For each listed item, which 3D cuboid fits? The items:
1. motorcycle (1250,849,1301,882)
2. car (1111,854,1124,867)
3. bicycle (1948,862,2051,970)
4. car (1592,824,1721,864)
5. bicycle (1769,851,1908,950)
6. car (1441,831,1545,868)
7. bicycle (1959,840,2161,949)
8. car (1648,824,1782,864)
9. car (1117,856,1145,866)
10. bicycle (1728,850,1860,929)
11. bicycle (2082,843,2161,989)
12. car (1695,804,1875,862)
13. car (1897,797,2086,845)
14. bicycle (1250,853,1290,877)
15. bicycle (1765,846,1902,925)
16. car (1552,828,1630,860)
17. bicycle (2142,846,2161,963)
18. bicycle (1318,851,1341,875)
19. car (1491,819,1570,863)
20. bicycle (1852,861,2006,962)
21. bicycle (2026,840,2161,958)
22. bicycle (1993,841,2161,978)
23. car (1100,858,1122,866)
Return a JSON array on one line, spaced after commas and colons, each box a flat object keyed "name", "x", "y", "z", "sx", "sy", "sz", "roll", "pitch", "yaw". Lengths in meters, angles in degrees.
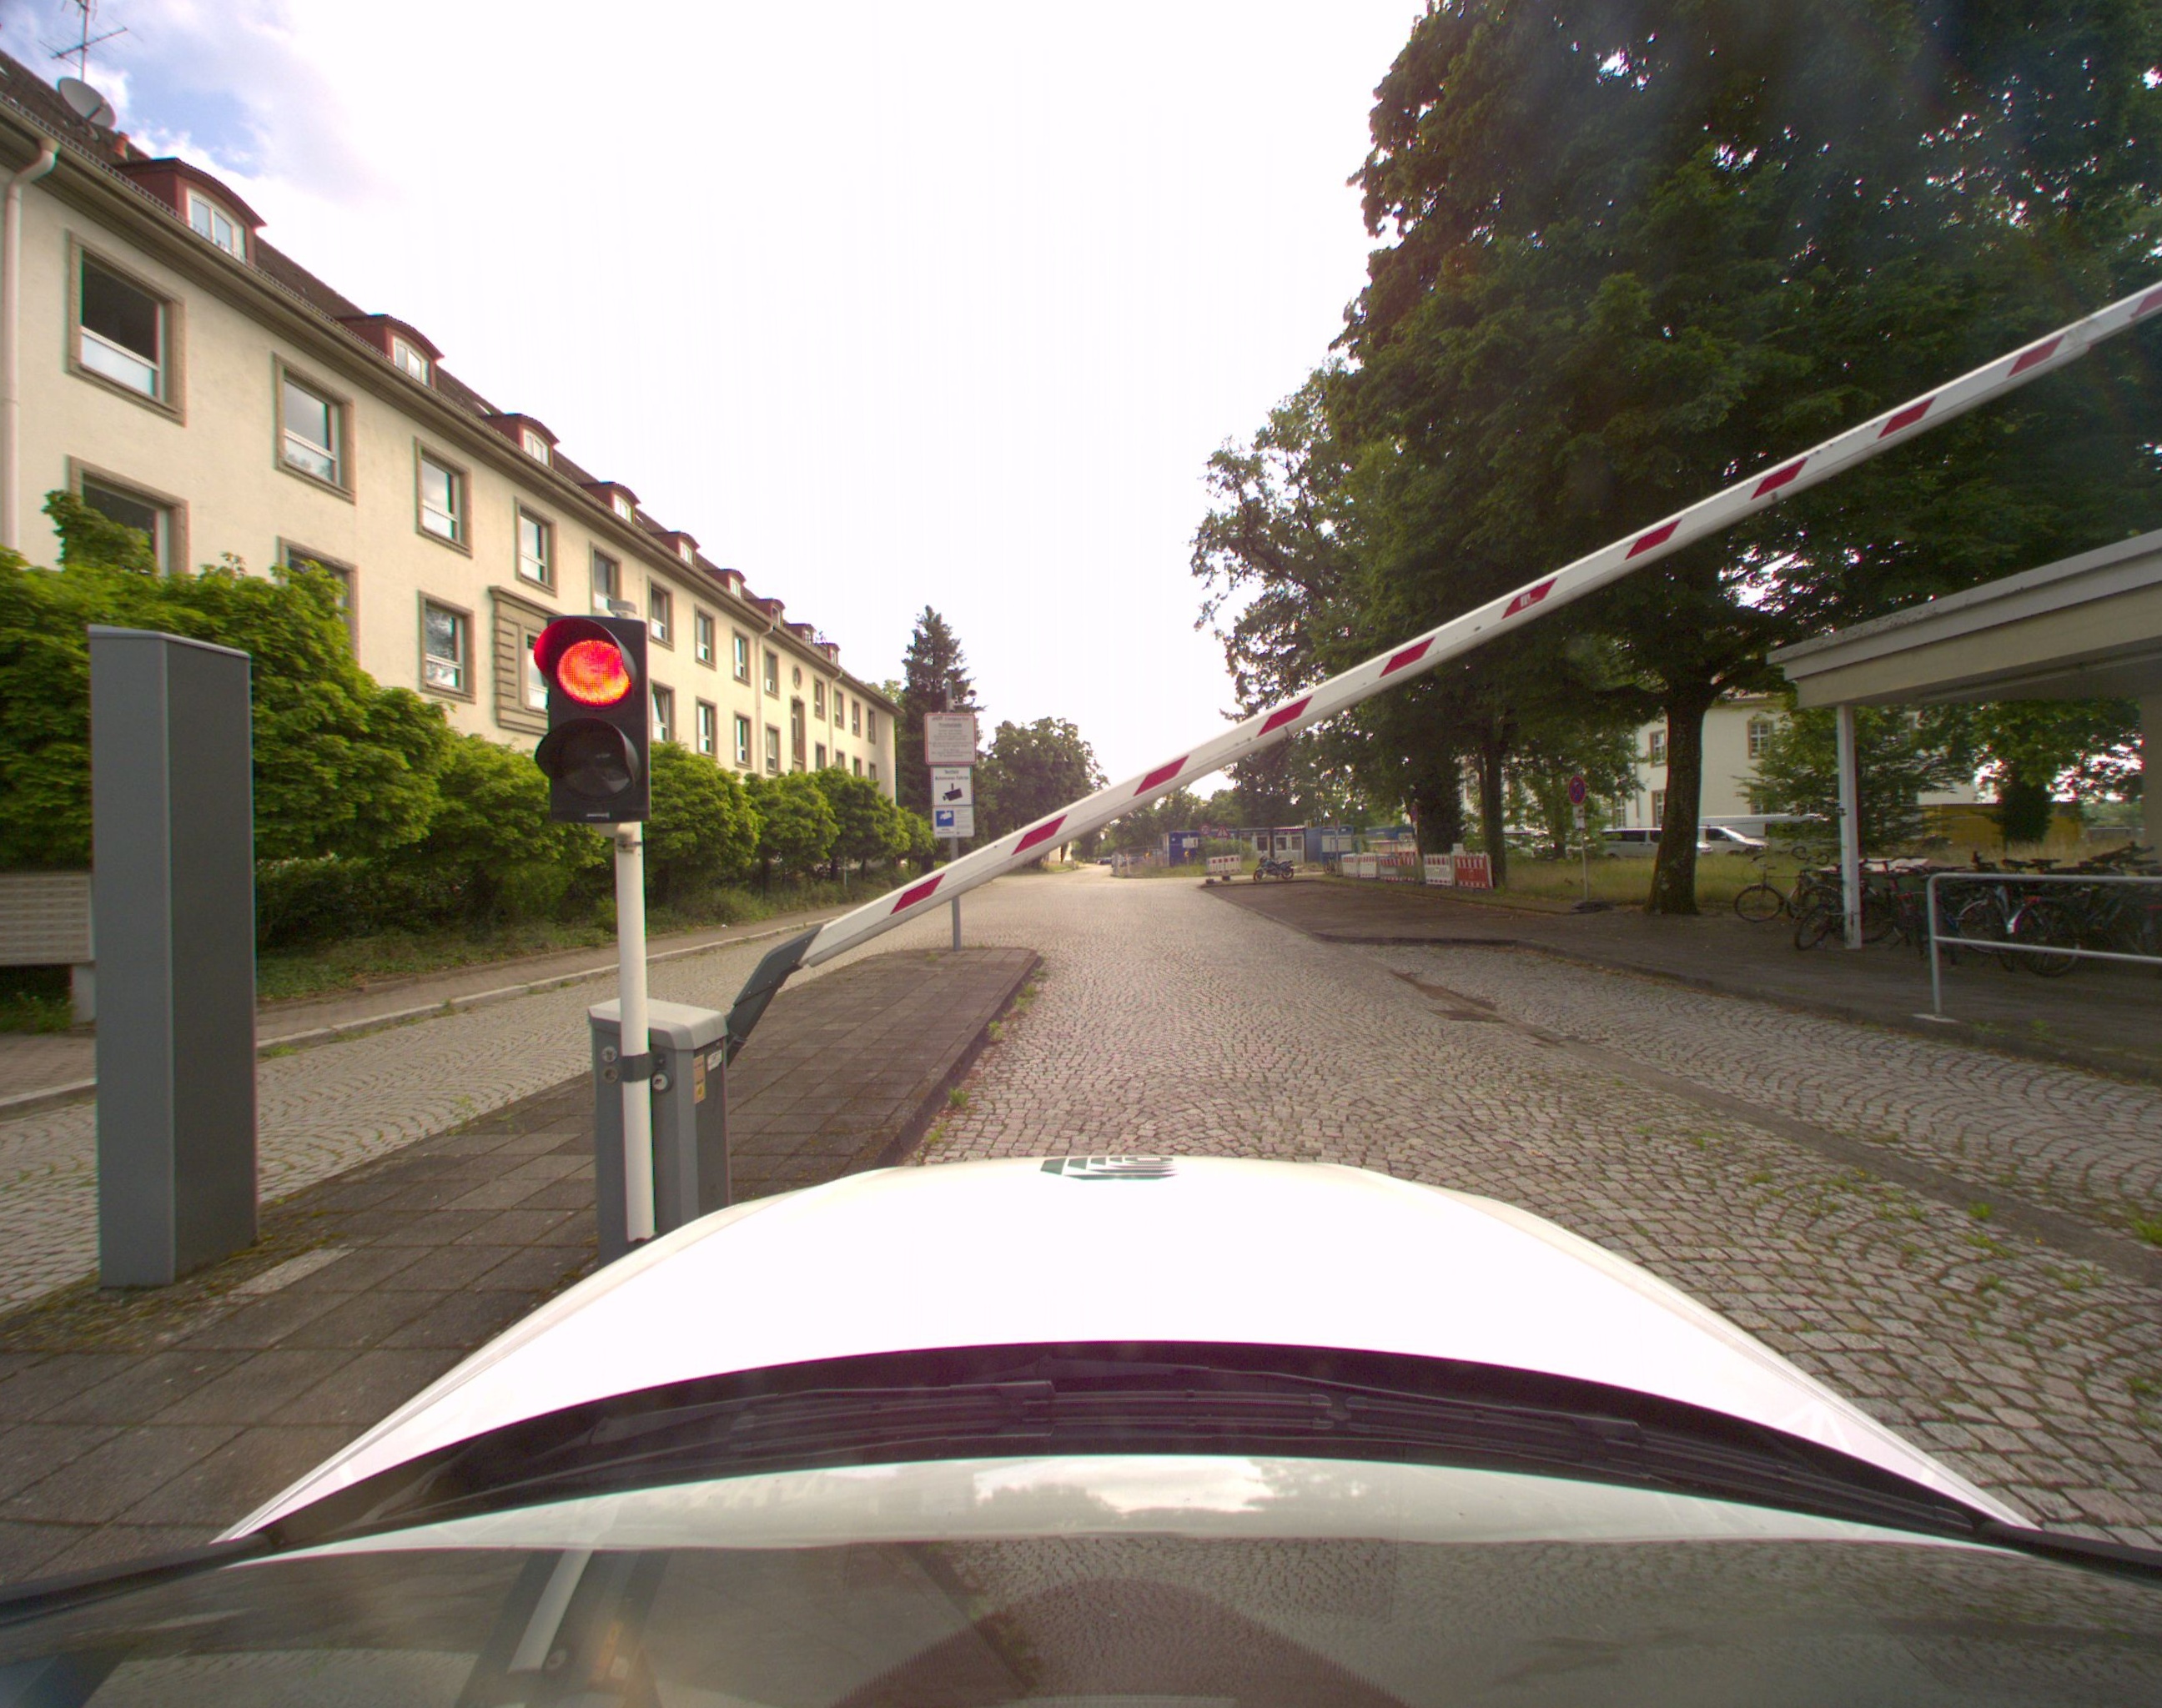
[{"name": "motorcycle", "x": 9.551, "y": 0.555, "z": 40.103, "sx": 2.271, "sy": 1.485, "sz": 0.756, "roll": -2, "pitch": 0, "yaw": -3}, {"name": "car", "x": 5.915, "y": 1.117, "z": 131.448, "sx": 1.987, "sy": 2.014, "sz": 4.091, "roll": -1, "pitch": -1, "yaw": 1}, {"name": "bicycle", "x": 9.666, "y": 0.622, "z": 8.555, "sx": 1.639, "sy": 0.976, "sz": 0.319, "roll": -3, "pitch": 0, "yaw": -29}, {"name": "car", "x": 28.235, "y": -0.442, "z": 40.167, "sx": 2.003, "sy": 1.825, "sz": 4.834, "roll": 0, "pitch": -1, "yaw": -25}, {"name": "bicycle", "x": 9.533, "y": 0.570, "z": 10.244, "sx": 1.677, "sy": 1.108, "sz": 0.337, "roll": -3, "pitch": 0, "yaw": -12}, {"name": "car", "x": 23.122, "y": -0.259, "z": 45.832, "sx": 4.838, "sy": 1.920, "sz": 1.908, "roll": -2, "pitch": 1, "yaw": 3}, {"name": "bicycle", "x": 11.704, "y": 0.468, "z": 9.751, "sx": 1.736, "sy": 1.165, "sz": 0.608, "roll": -3, "pitch": 0, "yaw": -3}, {"name": "car", "x": 31.111, "y": -0.434, "z": 40.152, "sx": 2.003, "sy": 1.825, "sz": 4.834, "roll": 0, "pitch": -1, "yaw": -25}, {"name": "car", "x": 8.407, "y": 1.180, "z": 137.014, "sx": 4.375, "sy": 1.510, "sz": 2.005, "roll": -1, "pitch": -1, "yaw": 10}, {"name": "bicycle", "x": 11.092, "y": 0.521, "z": 12.745, "sx": 0.595, "sy": 1.117, "sz": 1.635, "roll": -3, "pitch": 0, "yaw": 1}, {"name": "bicycle", "x": 9.859, "y": 0.504, "z": 7.308, "sx": 1.632, "sy": 1.190, "sz": 0.418, "roll": -3, "pitch": 0, "yaw": -14}, {"name": "car", "x": 34.341, "y": -0.929, "z": 40.023, "sx": 2.005, "sy": 2.578, "sz": 6.365, "roll": 0, "pitch": -1, "yaw": -27}, {"name": "car", "x": 42.121, "y": -1.487, "z": 37.809, "sx": 6.116, "sy": 2.095, "sz": 2.214, "roll": 0, "pitch": -1, "yaw": 3}, {"name": "bicycle", "x": 9.892, "y": 0.586, "z": 42.597, "sx": 1.882, "sy": 1.197, "sz": 0.659, "roll": -2, "pitch": 0, "yaw": 21}, {"name": "bicycle", "x": 11.717, "y": 0.464, "z": 12.759, "sx": 0.595, "sy": 1.117, "sz": 1.635, "roll": -3, "pitch": 0, "yaw": 1}, {"name": "car", "x": 30.960, "y": -0.544, "z": 49.624, "sx": 1.985, "sy": 1.825, "sz": 4.880, "roll": 0, "pitch": -1, "yaw": 4}, {"name": "bicycle", "x": 11.659, "y": 0.456, "z": 7.986, "sx": 1.736, "sy": 1.165, "sz": 0.608, "roll": -3, "pitch": 0, "yaw": -3}, {"name": "bicycle", "x": 12.658, "y": 0.451, "z": 41.525, "sx": 0.639, "sy": 1.169, "sz": 1.907, "roll": -2, "pitch": 0, "yaw": 4}, {"name": "car", "x": 27.520, "y": -0.723, "z": 50.131, "sx": 1.984, "sy": 2.556, "sz": 5.916, "roll": 0, "pitch": -1, "yaw": 4}, {"name": "bicycle", "x": 9.755, "y": 0.624, "z": 9.360, "sx": 1.751, "sy": 0.976, "sz": 0.752, "roll": -3, "pitch": 0, "yaw": -28}, {"name": "bicycle", "x": 11.558, "y": 0.462, "z": 8.912, "sx": 1.736, "sy": 1.165, "sz": 0.608, "roll": -3, "pitch": 0, "yaw": -3}, {"name": "bicycle", "x": 9.830, "y": 0.510, "z": 7.936, "sx": 1.631, "sy": 1.190, "sz": 0.471, "roll": -3, "pitch": 0, "yaw": -12}, {"name": "car", "x": 6.571, "y": 1.723, "z": 179.861, "sx": 4.770, "sy": 1.641, "sz": 1.997, "roll": -1, "pitch": -1, "yaw": -4}]
